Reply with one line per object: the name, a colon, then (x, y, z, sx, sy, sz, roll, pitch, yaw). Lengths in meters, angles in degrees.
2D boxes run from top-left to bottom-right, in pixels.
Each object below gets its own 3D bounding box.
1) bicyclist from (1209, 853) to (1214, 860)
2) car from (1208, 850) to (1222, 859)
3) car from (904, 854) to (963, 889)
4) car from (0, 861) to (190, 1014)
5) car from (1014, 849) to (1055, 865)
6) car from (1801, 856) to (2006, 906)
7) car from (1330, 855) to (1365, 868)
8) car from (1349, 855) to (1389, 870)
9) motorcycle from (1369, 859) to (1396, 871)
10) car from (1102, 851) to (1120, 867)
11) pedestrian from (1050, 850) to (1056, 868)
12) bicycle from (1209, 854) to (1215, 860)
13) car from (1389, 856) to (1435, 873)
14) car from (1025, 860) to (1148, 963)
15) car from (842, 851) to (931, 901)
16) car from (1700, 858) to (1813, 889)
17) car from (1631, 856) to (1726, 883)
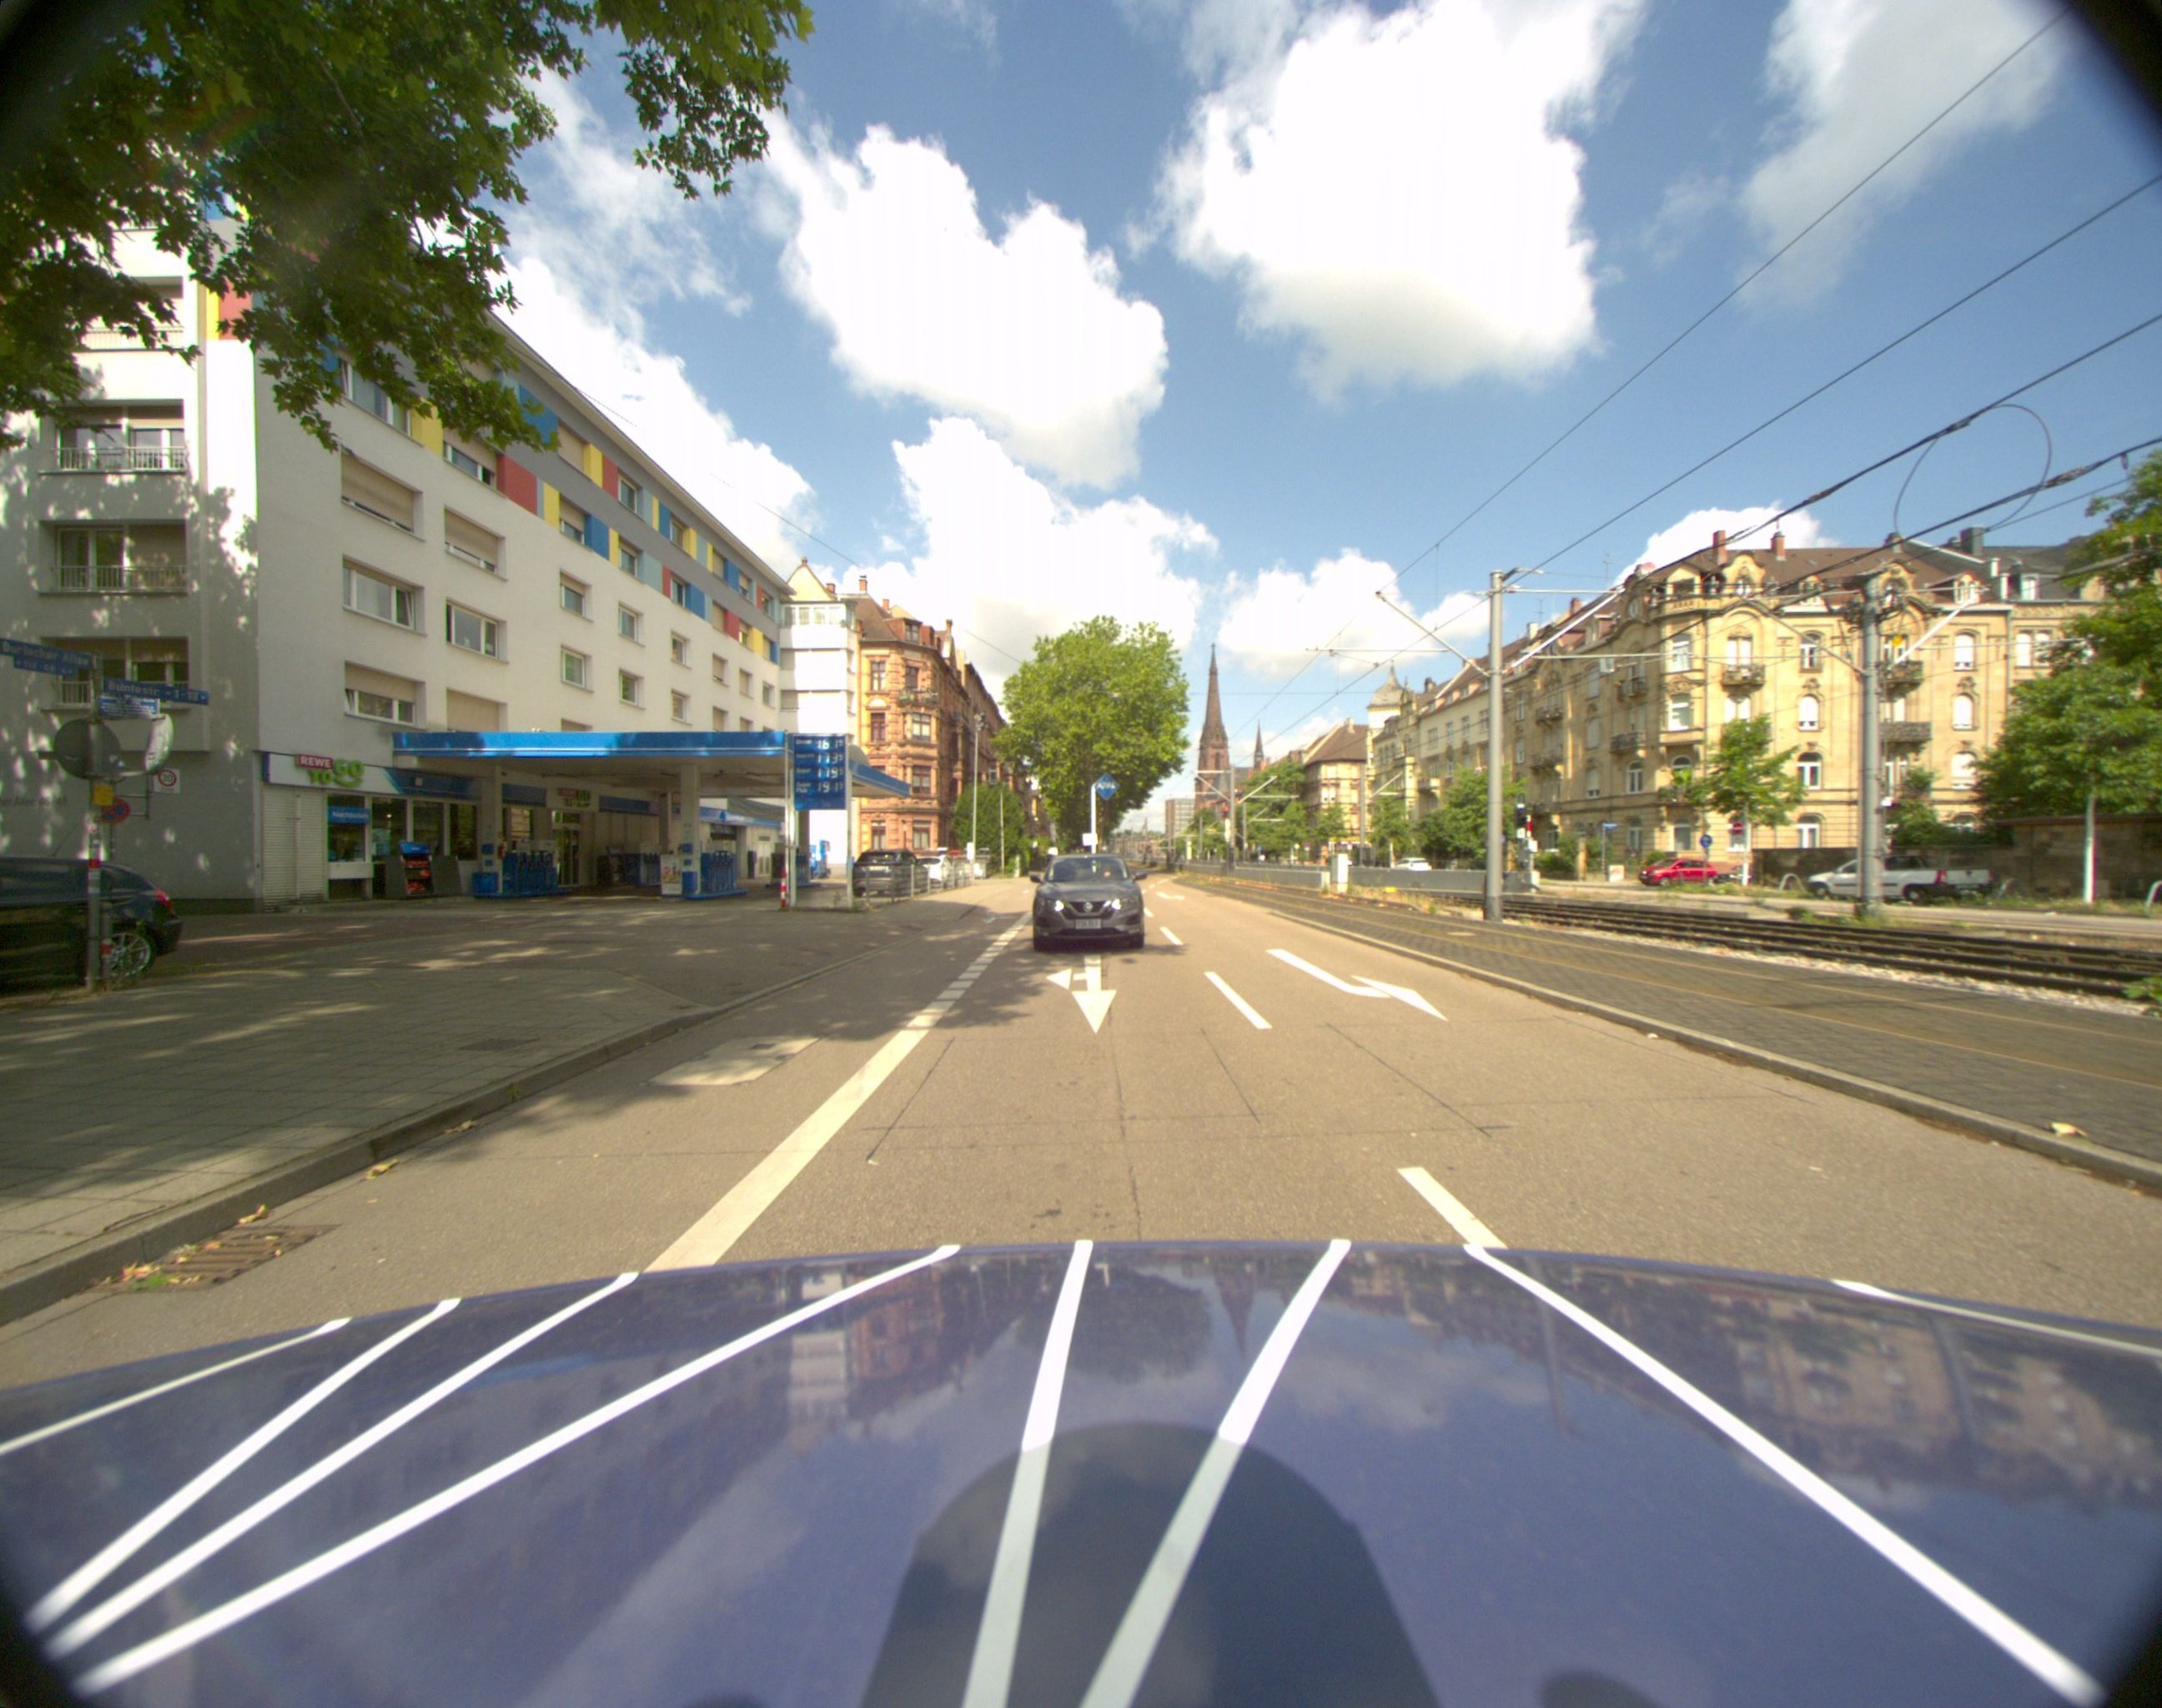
bicyclist: (24.751, 0.525, 143.867, 0.769, 1.330, 1.049, 2, 0, 1)
car: (26.706, 0.085, 151.809, 1.998, 1.628, 4.114, 0, 0, 0)
car: (-6.530, 0.740, 34.019, 1.810, 1.447, 4.001, -1, 0, 0)
car: (-11.206, 0.810, 6.826, 1.653, 1.461, 4.042, 0, 0, 0)
car: (-5.598, 0.369, 91.458, 4.735, 1.772, 2.004, -1, 1, -7)
car: (26.758, 0.813, 24.988, 1.936, 1.495, 4.413, 0, 0, -1)
car: (26.685, 0.747, 76.350, 1.953, 1.319, 4.725, 0, 0, 1)
car: (26.715, 0.768, 70.624, 2.025, 1.319, 4.100, 0, 0, -2)
motorcycle: (26.851, 0.980, 67.739, 1.765, 0.936, 1.417, 2, 0, -1)
car: (2.943, 0.484, 75.020, 1.557, 1.476, 3.858, 2, 0, 0)
pedestrian: (-2.722, 0.486, 74.752, 0.565, 1.776, 0.630, 0, 1, 0)
bicycle: (24.777, 0.593, 144.104, 0.778, 0.973, 2.141, 2, 0, 1)
car: (26.859, 0.821, 61.729, 1.756, 1.320, 4.312, 0, 0, -2)
car: (0.114, 0.868, 13.450, 1.800, 1.454, 4.567, 0, 0, 1)
car: (-6.739, 0.699, 26.832, 1.810, 1.593, 4.583, -1, 0, 2)
car: (32.942, 0.940, 37.115, 3.972, 1.455, 1.723, 0, 0, 1)
car: (33.619, 0.871, 42.837, 3.788, 1.455, 1.933, 0, 0, 4)
